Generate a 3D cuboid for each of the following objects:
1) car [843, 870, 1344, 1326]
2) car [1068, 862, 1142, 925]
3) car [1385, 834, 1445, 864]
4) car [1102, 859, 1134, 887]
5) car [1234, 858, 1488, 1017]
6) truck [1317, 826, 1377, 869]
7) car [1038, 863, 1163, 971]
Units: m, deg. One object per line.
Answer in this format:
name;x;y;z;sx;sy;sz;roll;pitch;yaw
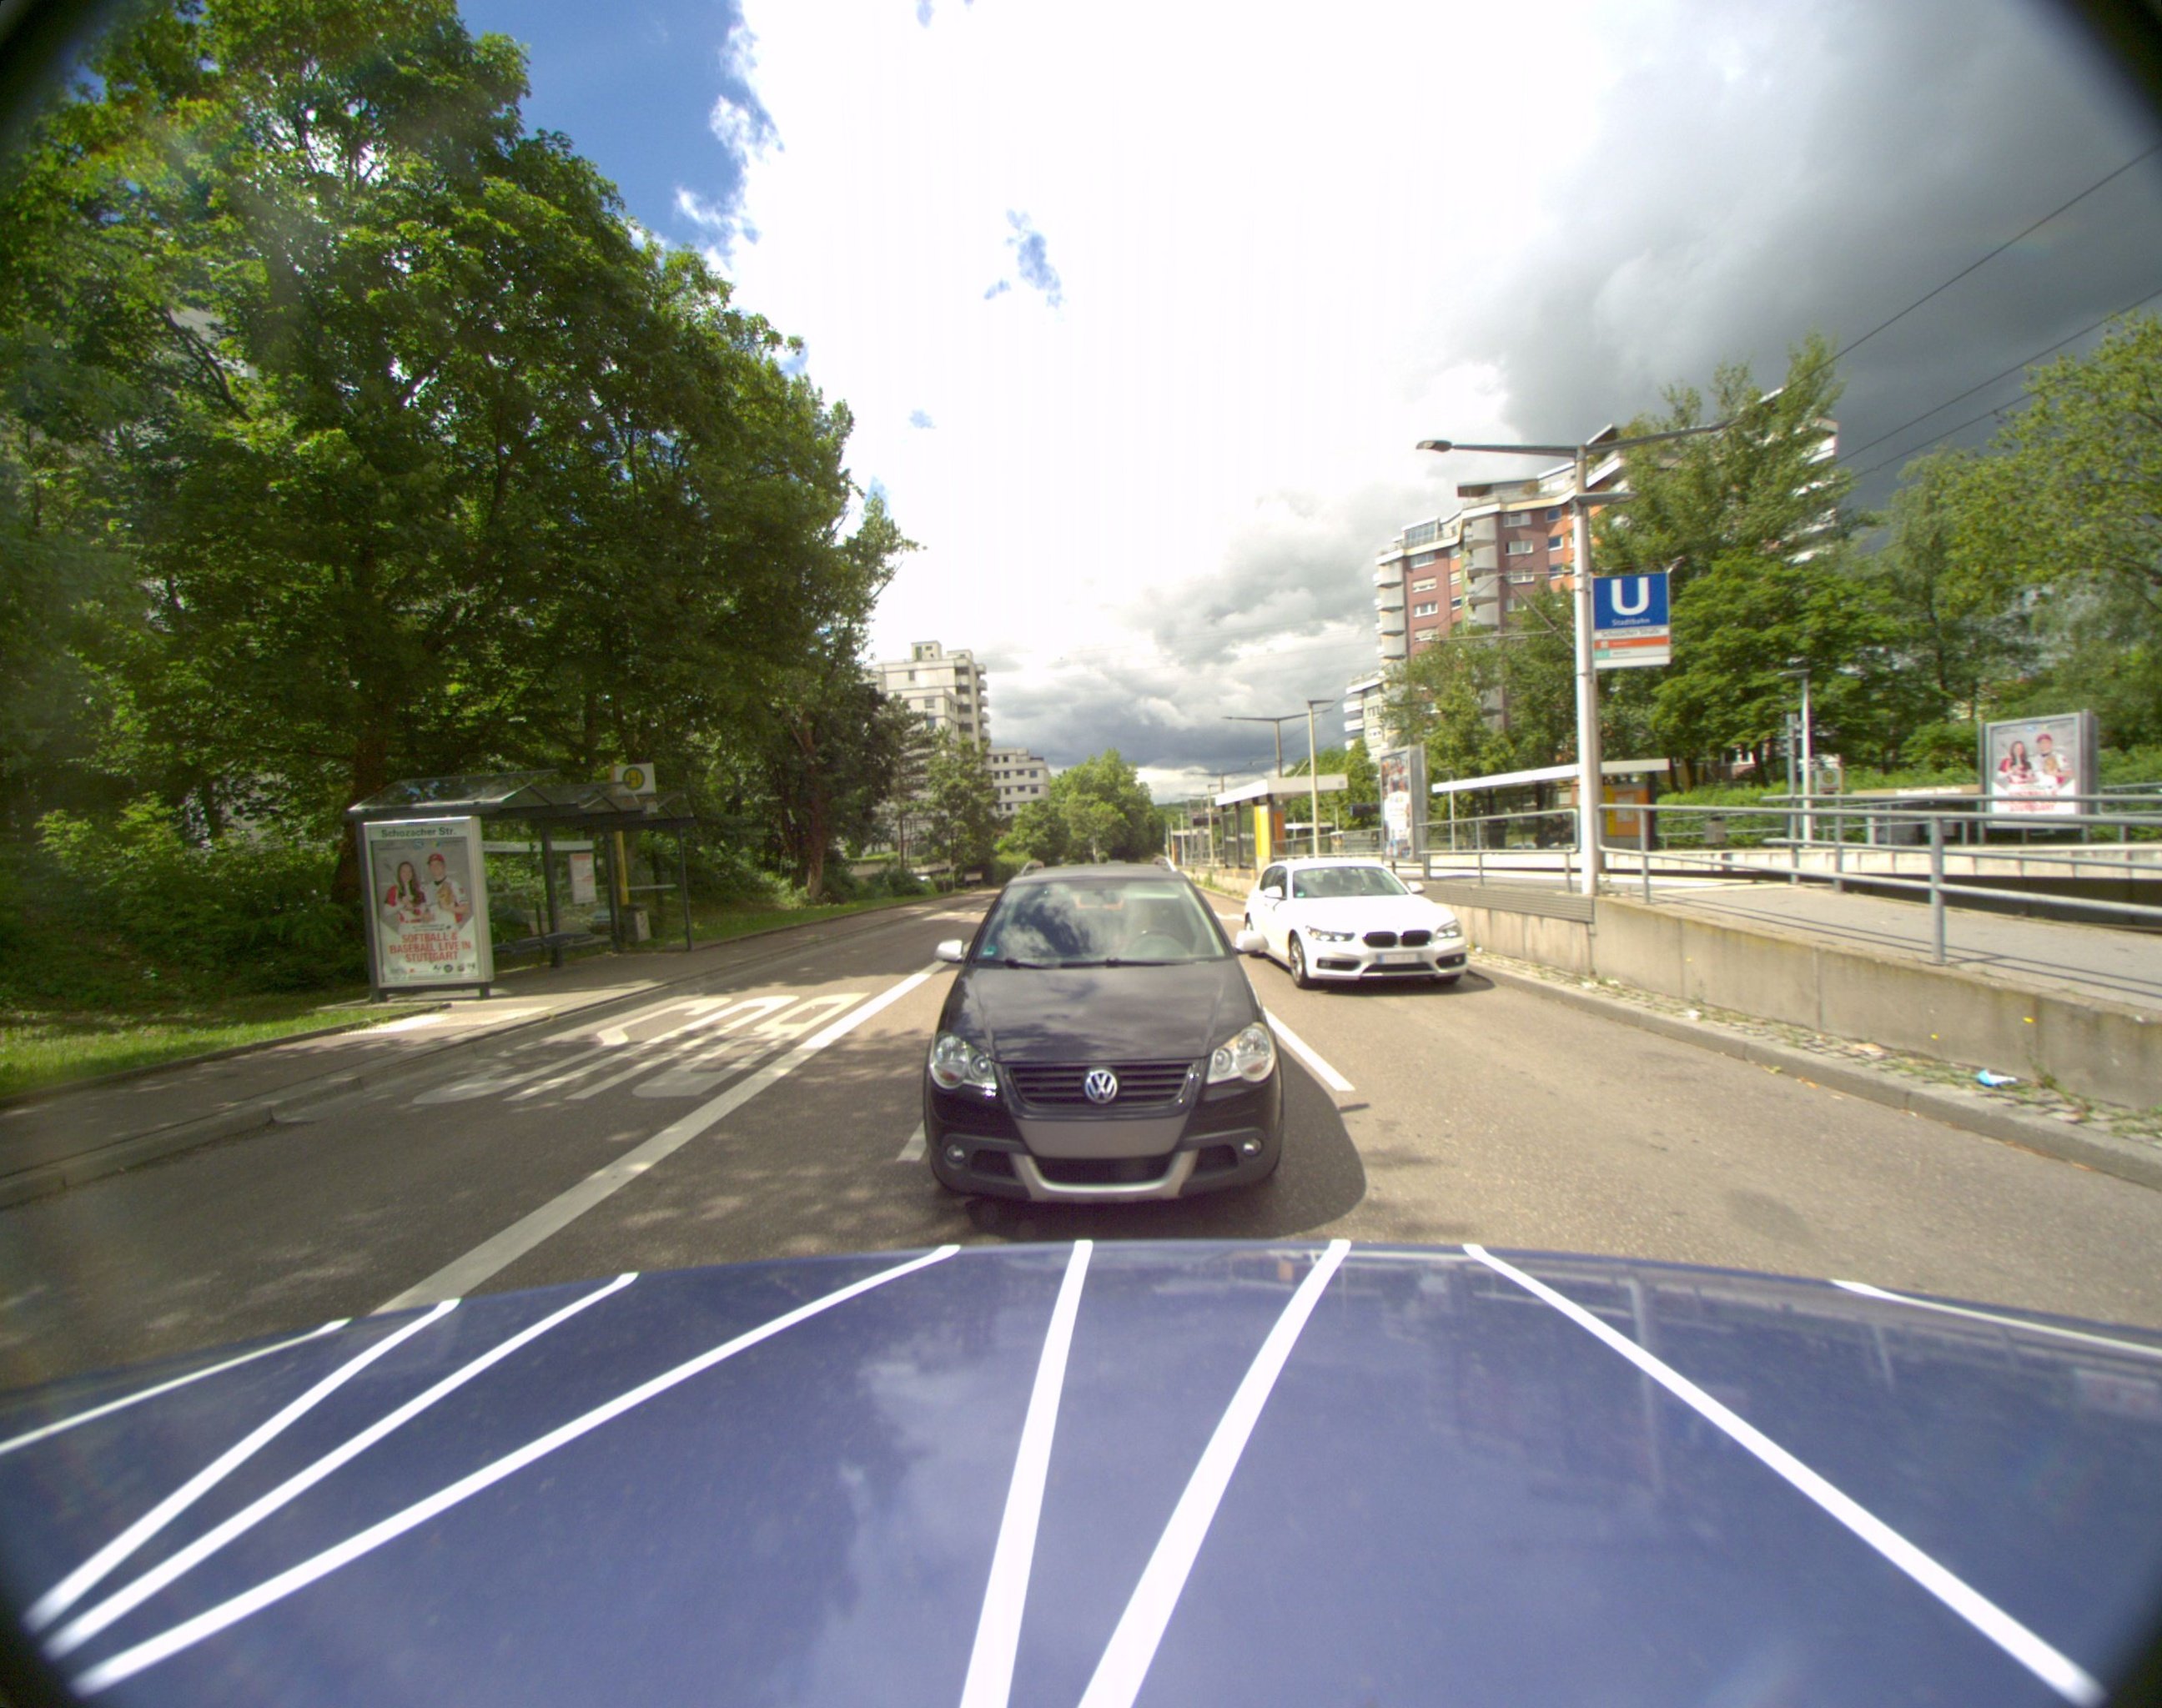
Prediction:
car;0.080;0.922;4.720;1.732;1.501;4.000;-2;0;1
car;0.695;0.981;20.505;1.732;1.452;4.001;-2;0;3
car;21.284;-0.324;48.651;1.998;1.791;4.510;-1;0;2
car;2.202;1.096;45.953;1.732;1.505;4.000;-2;1;1
car;3.175;0.837;9.520;1.732;1.453;4.000;-2;1;1
truck;21.741;-0.470;62.460;2.420;3.203;7.263;-2;0;1
car;0.323;0.934;12.925;1.732;1.453;4.000;-2;0;1
